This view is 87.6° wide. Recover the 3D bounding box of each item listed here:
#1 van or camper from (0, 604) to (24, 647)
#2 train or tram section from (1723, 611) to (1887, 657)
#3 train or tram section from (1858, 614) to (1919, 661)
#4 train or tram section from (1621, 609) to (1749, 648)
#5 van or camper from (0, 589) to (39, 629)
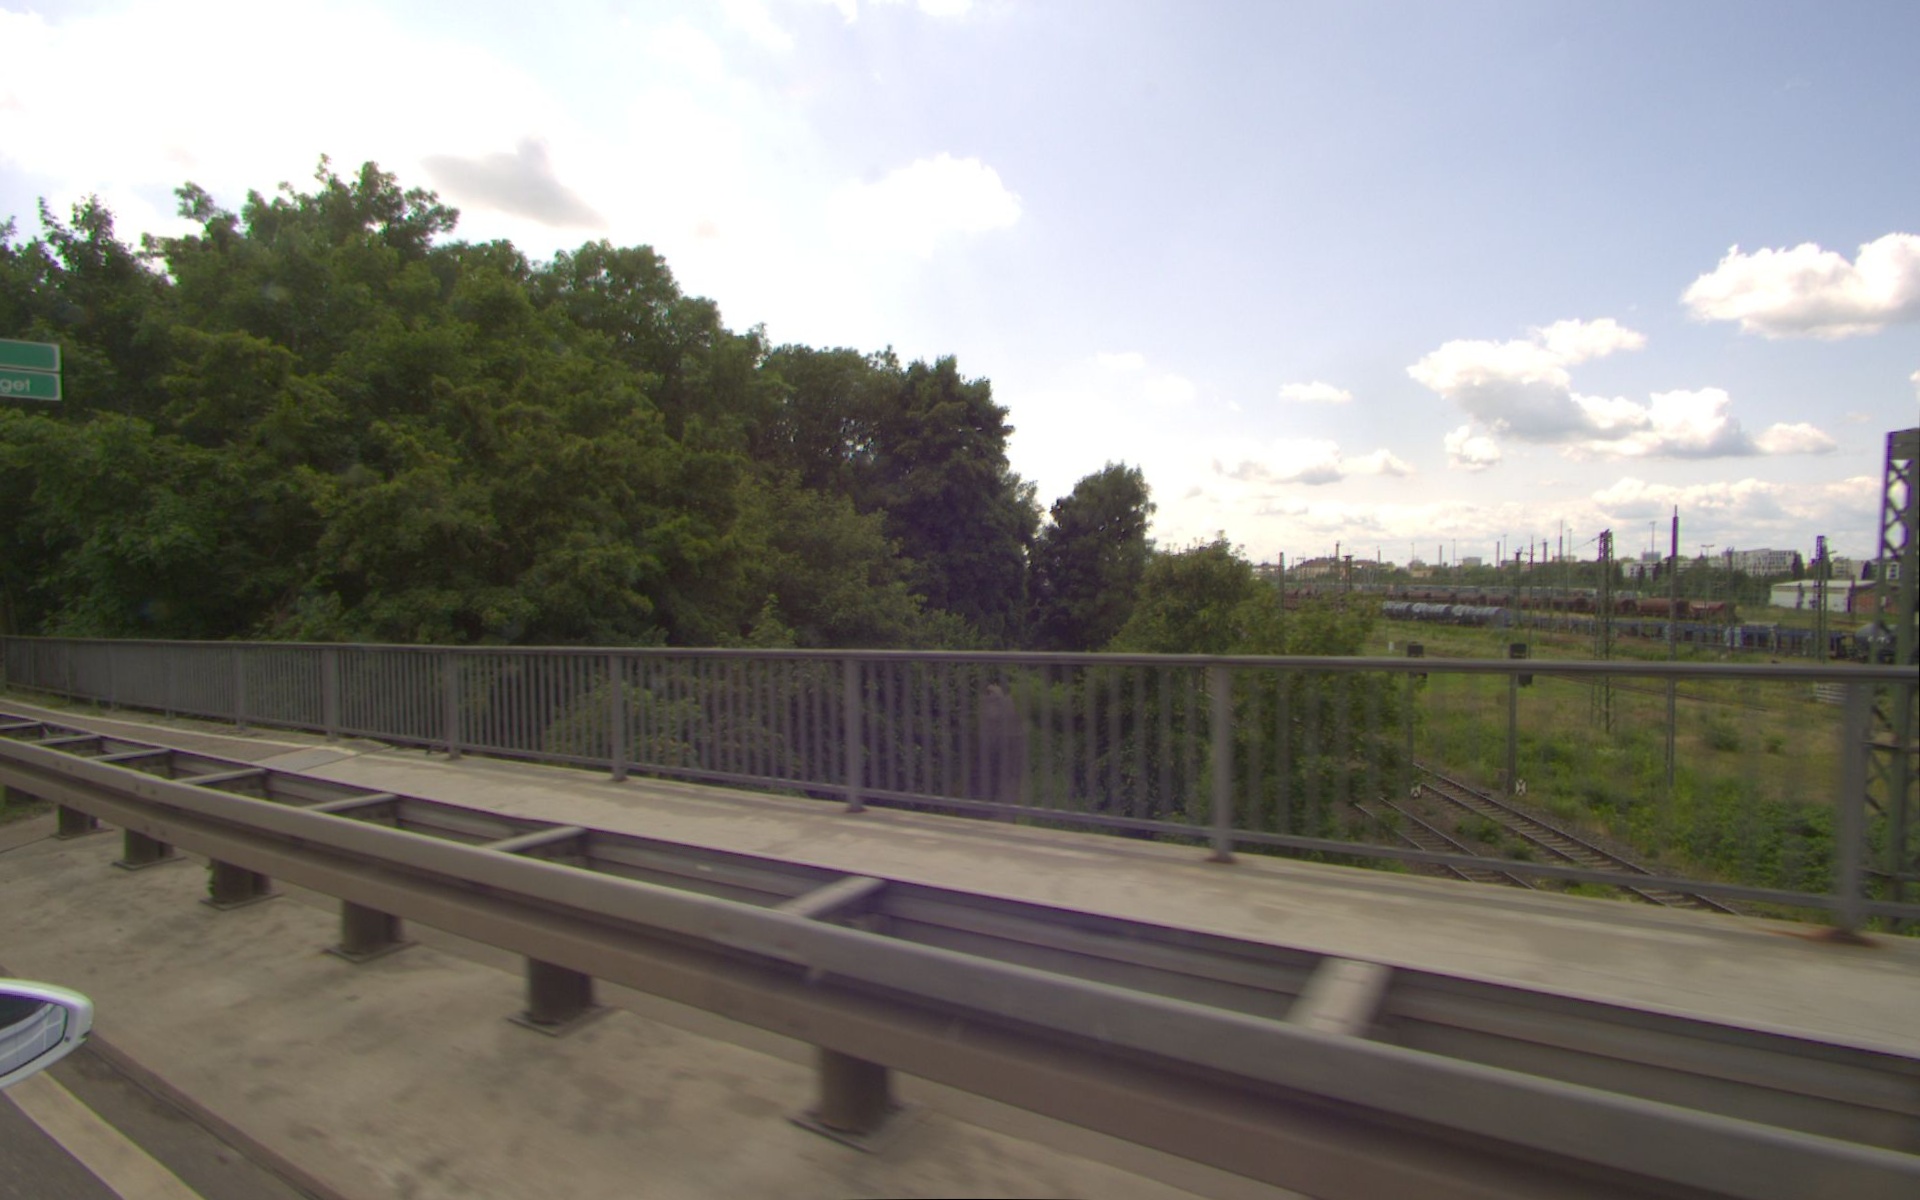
[{"bbox_3d":[-60.040,1.550,62.291,1.974,2.624,4.063,1,-1,-34],"label":"van or camper"},{"bbox_3d":[92.196,3.573,109.977,3.151,4.208,15.958,-3,1,-6],"label":"train or tram section"},{"bbox_3d":[93.660,3.661,94.045,3.151,4.208,15.959,-3,1,-5],"label":"train or tram section"},{"bbox_3d":[90.624,3.427,125.862,3.151,4.208,15.958,-3,1,-6],"label":"train or tram section"},{"bbox_3d":[-91.584,0.833,96.916,2.880,3.662,7.951,2,-1,-38],"label":"van or camper"}]
